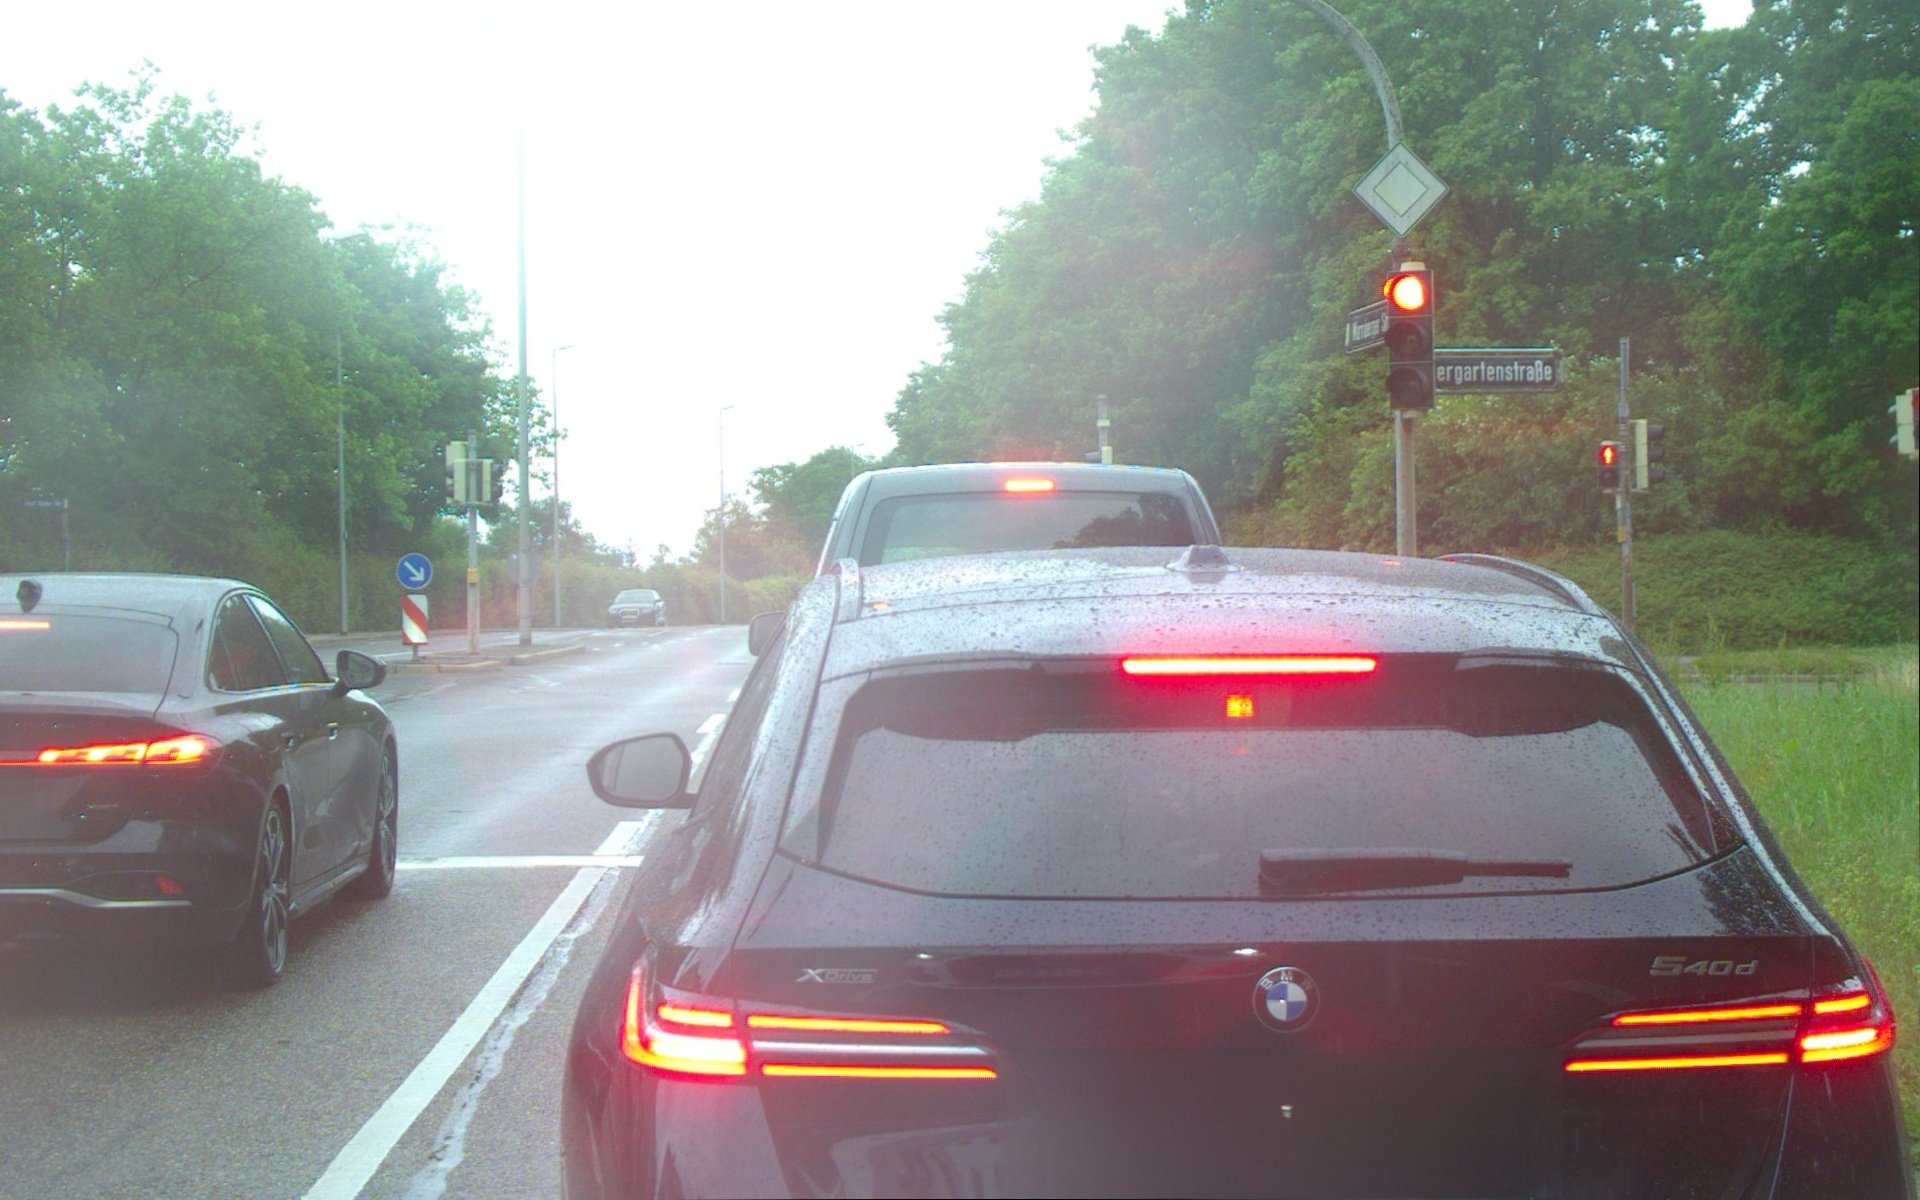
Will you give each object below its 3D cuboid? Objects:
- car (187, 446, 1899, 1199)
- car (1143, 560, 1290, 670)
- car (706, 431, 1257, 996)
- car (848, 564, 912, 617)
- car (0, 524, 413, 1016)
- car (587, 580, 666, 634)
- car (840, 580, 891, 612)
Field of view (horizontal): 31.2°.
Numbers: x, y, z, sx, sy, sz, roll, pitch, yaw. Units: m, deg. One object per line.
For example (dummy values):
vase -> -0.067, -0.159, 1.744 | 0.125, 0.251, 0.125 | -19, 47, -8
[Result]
car -> 0.197, 0.612, 6.124 | 1.898, 1.546, 4.614 | 0, 0, 3
car -> 3.871, 0.209, 52.427 | 1.873, 1.537, 3.952 | -2, 0, 0
car -> 0.069, 0.362, 13.359 | 1.818, 1.862, 3.952 | 0, 0, 0
car -> -2.275, -0.268, 98.345 | 1.697, 1.422, 3.514 | -2, 0, 0
car -> -3.353, 0.550, 13.018 | 1.993, 1.522, 4.328 | -2, 0, -3
car -> -11.950, 0.235, 123.353 | 1.994, 1.820, 3.999 | -2, 0, 6
car -> -5.089, -0.241, 185.259 | 1.994, 1.605, 3.670 | -2, 0, 9
